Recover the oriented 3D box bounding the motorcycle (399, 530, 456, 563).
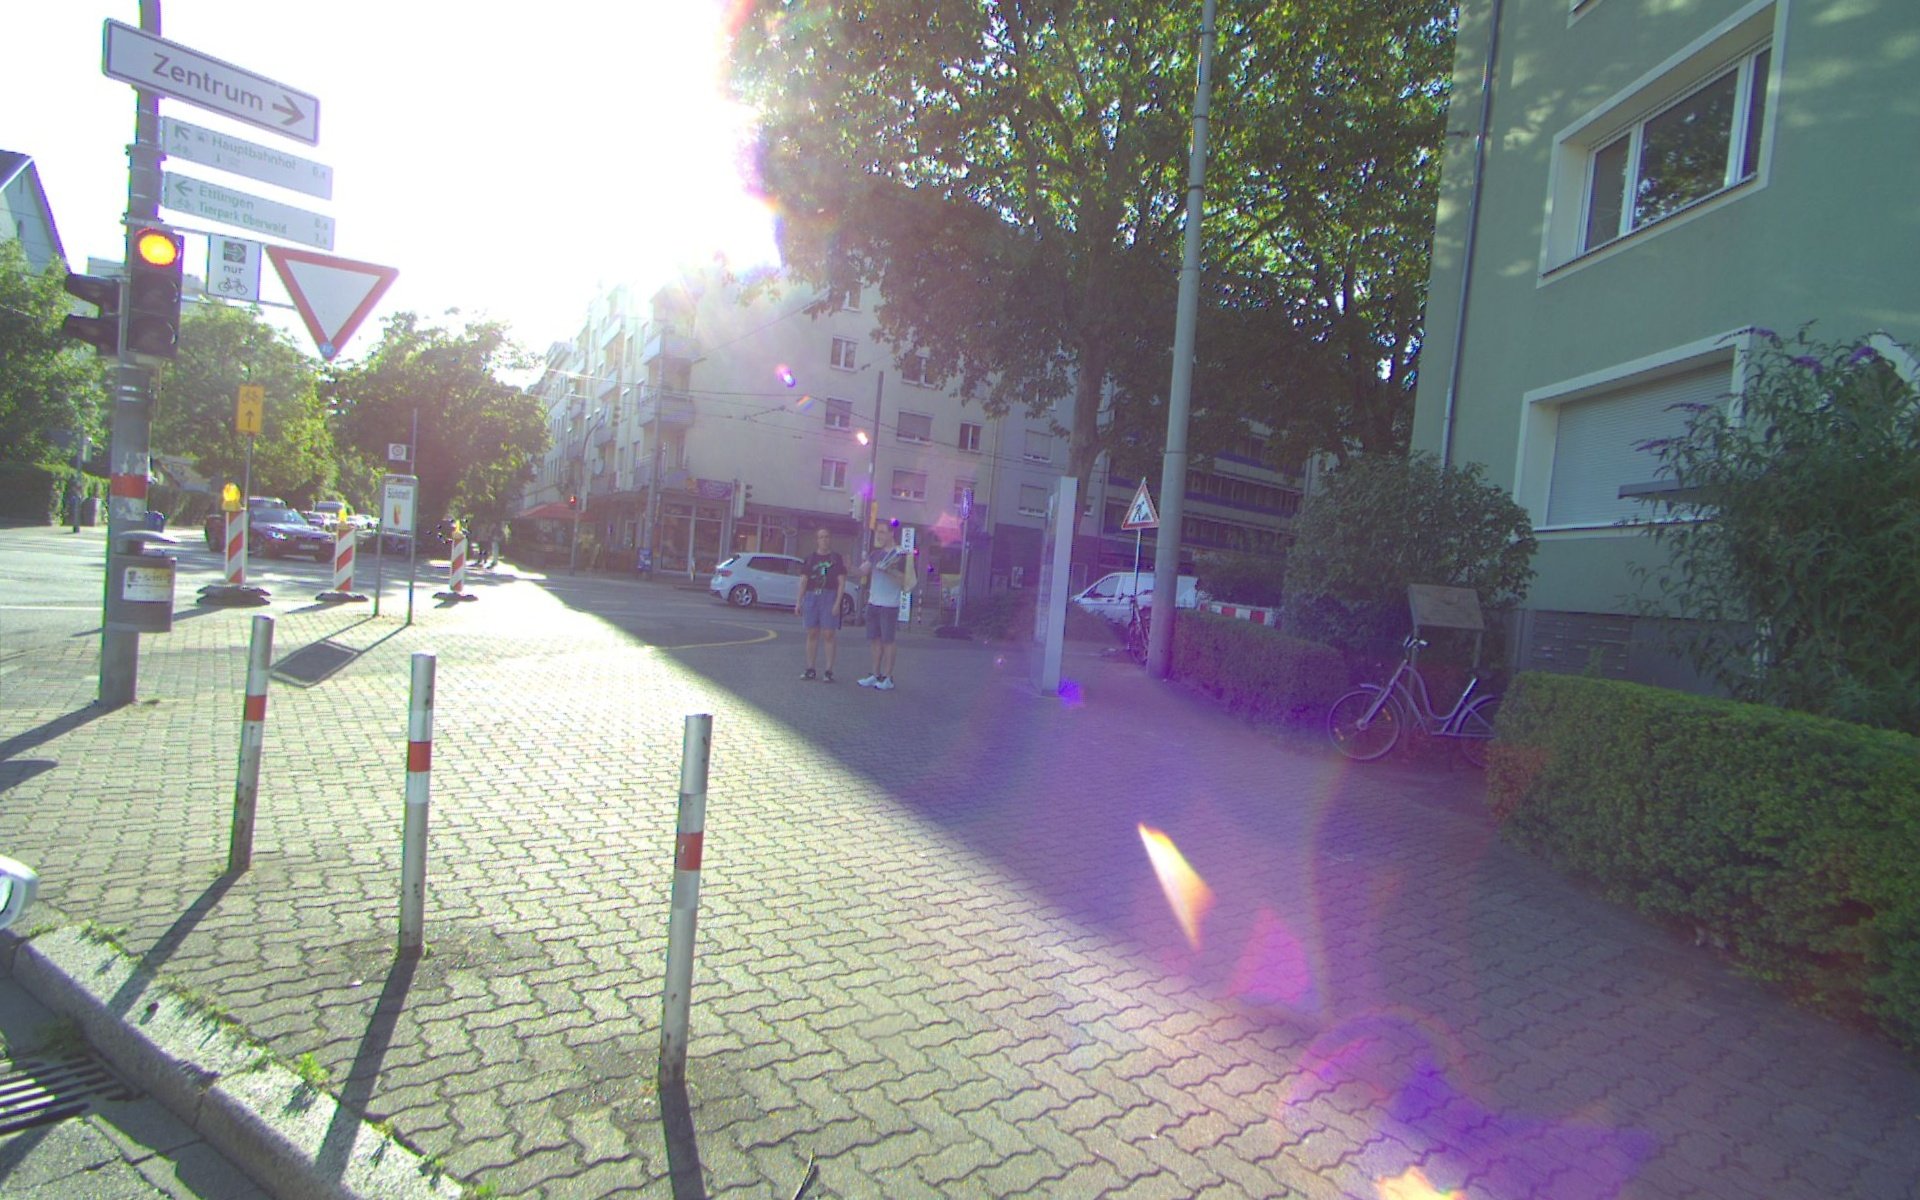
[{"bbox_3d":[-21.643,-2.168,40.877,1.938,1.124,0.829,4,2,-34],"label":"motorcycle"}]

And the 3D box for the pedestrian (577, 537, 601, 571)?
[{"bbox_3d":[-18.120,-2.248,49.174,0.806,1.565,0.905,3,3,-35],"label":"pedestrian"}]

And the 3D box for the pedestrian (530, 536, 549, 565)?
[{"bbox_3d":[-21.462,-2.531,51.354,0.803,1.381,0.908,4,2,-23],"label":"pedestrian"}]

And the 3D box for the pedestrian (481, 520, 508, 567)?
[{"bbox_3d":[-18.574,-2.240,40.145,0.681,1.774,0.793,5,2,-7],"label":"pedestrian"}]

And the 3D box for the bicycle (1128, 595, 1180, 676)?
[{"bbox_3d":[2.864,0.495,14.998,0.511,1.071,1.933,6,2,7],"label":"bicycle"}]

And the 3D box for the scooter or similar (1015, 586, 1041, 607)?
[{"bbox_3d":[3.519,-0.193,52.141,1.421,0.966,0.462,4,3,-44],"label":"scooter or similar"}]

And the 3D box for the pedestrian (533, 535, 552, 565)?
[{"bbox_3d":[-20.822,-2.491,50.198,0.803,1.381,0.908,4,2,-23],"label":"pedestrian"}]

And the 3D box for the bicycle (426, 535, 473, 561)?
[{"bbox_3d":[-21.604,-2.194,42.601,1.708,0.945,0.557,5,2,-29],"label":"bicycle"}]

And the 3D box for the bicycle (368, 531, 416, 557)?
[{"bbox_3d":[-23.703,-2.337,42.009,1.708,0.945,0.667,5,2,-29],"label":"bicycle"}]

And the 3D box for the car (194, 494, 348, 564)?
[{"bbox_3d":[-19.140,-1.973,27.908,4.320,1.584,1.894,5,1,32],"label":"car"}]

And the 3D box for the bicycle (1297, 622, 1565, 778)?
[{"bbox_3d":[3.952,0.823,8.544,1.897,1.071,0.521,6,2,5],"label":"bicycle"}]

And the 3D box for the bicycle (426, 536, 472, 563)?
[{"bbox_3d":[-21.974,-2.171,43.273,1.708,0.945,0.557,5,2,-29],"label":"bicycle"}]

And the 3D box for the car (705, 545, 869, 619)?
[{"bbox_3d":[-4.562,-0.486,26.375,3.939,1.506,1.889,5,2,-18],"label":"car"}]

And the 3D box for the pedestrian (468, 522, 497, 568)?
[{"bbox_3d":[-19.388,-2.232,40.853,0.706,1.774,0.793,5,2,-7],"label":"pedestrian"}]

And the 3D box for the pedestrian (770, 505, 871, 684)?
[{"bbox_3d":[-1.476,-0.056,10.719,0.680,1.774,0.794,6,2,13],"label":"pedestrian"}]

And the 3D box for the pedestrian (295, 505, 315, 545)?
[{"bbox_3d":[-31.824,-3.629,48.899,0.656,1.864,0.677,4,3,-30],"label":"pedestrian"}]

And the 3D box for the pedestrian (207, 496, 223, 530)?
[{"bbox_3d":[-40.333,-4.722,54.457,0.575,1.754,0.602,4,3,-34],"label":"pedestrian"}]

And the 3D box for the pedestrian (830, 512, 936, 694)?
[{"bbox_3d":[-0.794,0.026,10.516,0.680,1.774,0.794,6,2,21],"label":"pedestrian"}]

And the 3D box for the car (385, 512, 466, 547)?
[{"bbox_3d":[-39.352,-5.158,74.113,5.050,1.948,2.344,5,0,-32],"label":"car"}]

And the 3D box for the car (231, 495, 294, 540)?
[{"bbox_3d":[-37.332,-4.402,53.982,2.336,2.040,5.265,4,2,-31],"label":"car"}]

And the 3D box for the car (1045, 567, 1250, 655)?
[{"bbox_3d":[4.710,0.222,26.127,1.913,1.849,5.185,5,0,-37],"label":"car"}]

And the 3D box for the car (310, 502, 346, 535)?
[{"bbox_3d":[-54.391,-6.987,86.630,2.336,2.548,5.265,4,2,-31],"label":"car"}]
